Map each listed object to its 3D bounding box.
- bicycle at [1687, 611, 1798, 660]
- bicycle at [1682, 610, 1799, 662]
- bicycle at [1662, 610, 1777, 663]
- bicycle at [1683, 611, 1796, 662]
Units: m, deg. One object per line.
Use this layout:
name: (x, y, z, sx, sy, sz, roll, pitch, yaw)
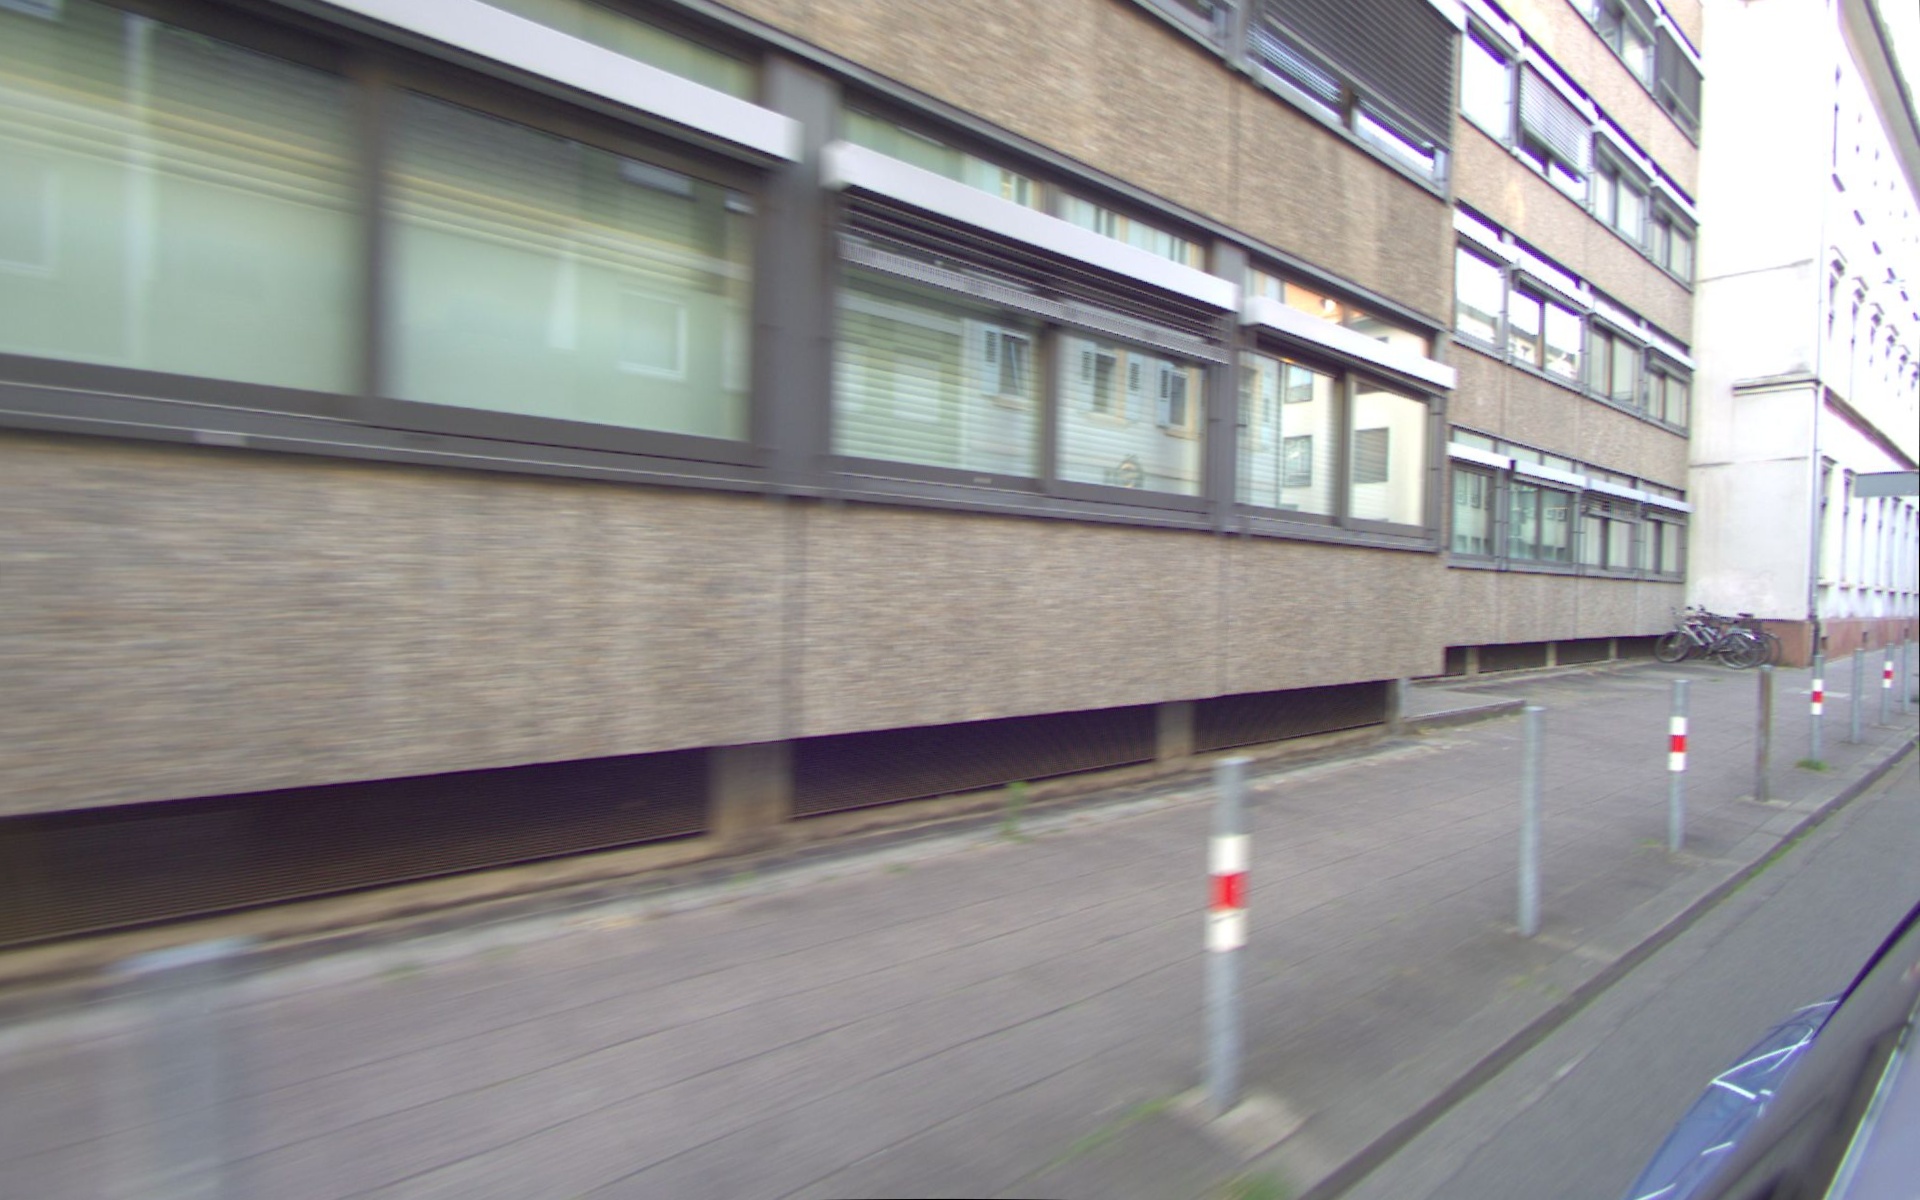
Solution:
bicycle: (16.285, 0.723, 21.097, 0.389, 0.934, 1.796, 0, 1, -44)
bicycle: (15.454, 0.684, 20.063, 1.794, 0.934, 0.530, 1, 1, 42)
bicycle: (14.736, 0.683, 19.671, 1.739, 0.934, 0.530, 1, 1, 43)
bicycle: (15.903, 0.726, 20.682, 1.794, 0.934, 0.509, 1, 1, 42)
